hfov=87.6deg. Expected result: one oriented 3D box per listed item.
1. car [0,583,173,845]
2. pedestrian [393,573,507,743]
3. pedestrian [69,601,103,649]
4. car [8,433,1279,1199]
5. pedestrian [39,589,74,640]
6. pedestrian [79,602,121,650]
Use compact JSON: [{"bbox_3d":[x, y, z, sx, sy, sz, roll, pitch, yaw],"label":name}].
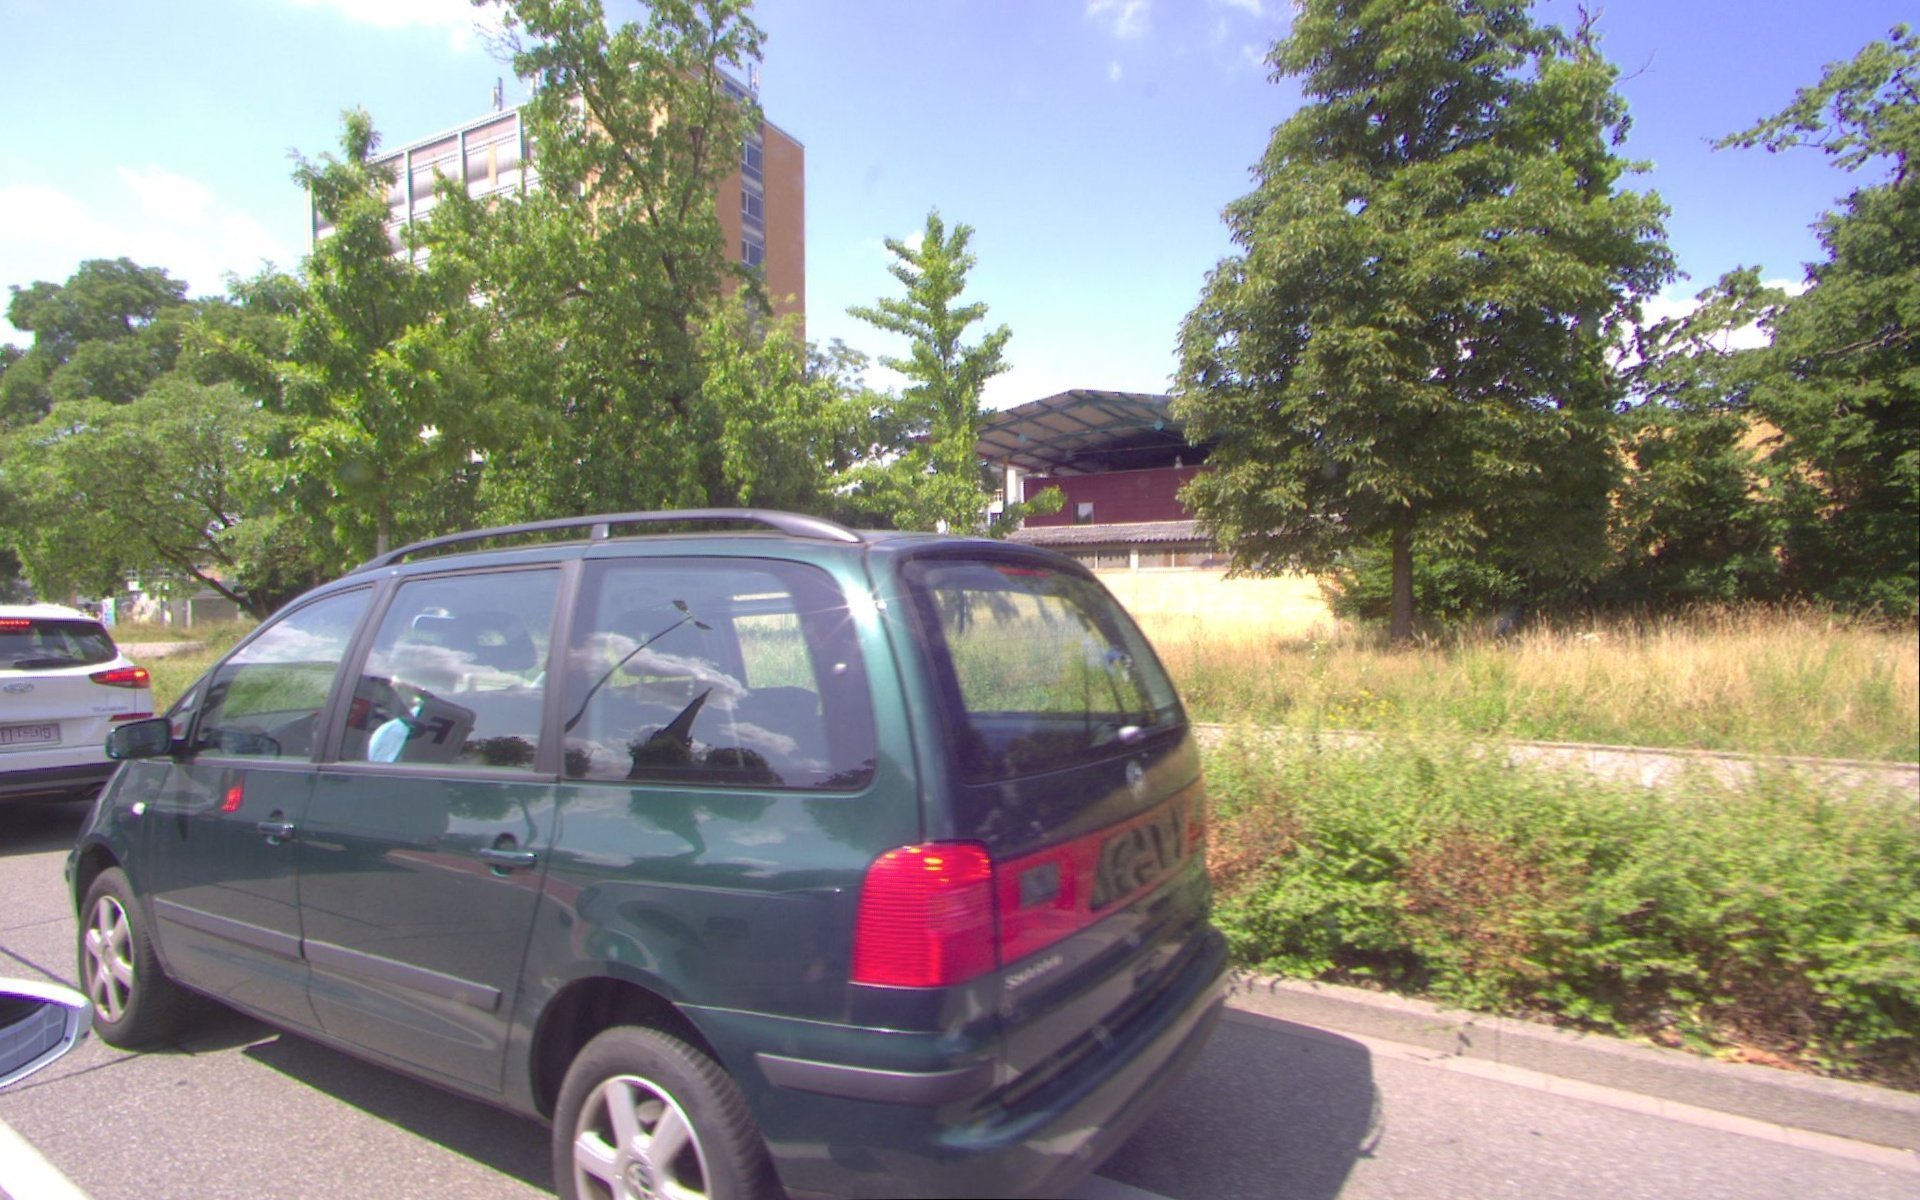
[{"bbox_3d":[-7.881,0.753,7.704,3.945,1.710,1.793,0,0,34],"label":"car"},{"bbox_3d":[-6.045,0.656,11.892,0.762,1.917,0.948,0,0,32],"label":"pedestrian"},{"bbox_3d":[-37.382,1.050,42.817,0.727,2.040,0.846,0,0,19],"label":"pedestrian"},{"bbox_3d":[-1.332,0.656,3.435,4.325,1.757,1.809,0,-1,32],"label":"car"},{"bbox_3d":[-37.460,0.602,41.533,0.726,2.085,0.847,0,0,-7],"label":"pedestrian"},{"bbox_3d":[-28.103,0.835,32.723,0.823,1.559,0.843,0,0,32],"label":"pedestrian"}]
